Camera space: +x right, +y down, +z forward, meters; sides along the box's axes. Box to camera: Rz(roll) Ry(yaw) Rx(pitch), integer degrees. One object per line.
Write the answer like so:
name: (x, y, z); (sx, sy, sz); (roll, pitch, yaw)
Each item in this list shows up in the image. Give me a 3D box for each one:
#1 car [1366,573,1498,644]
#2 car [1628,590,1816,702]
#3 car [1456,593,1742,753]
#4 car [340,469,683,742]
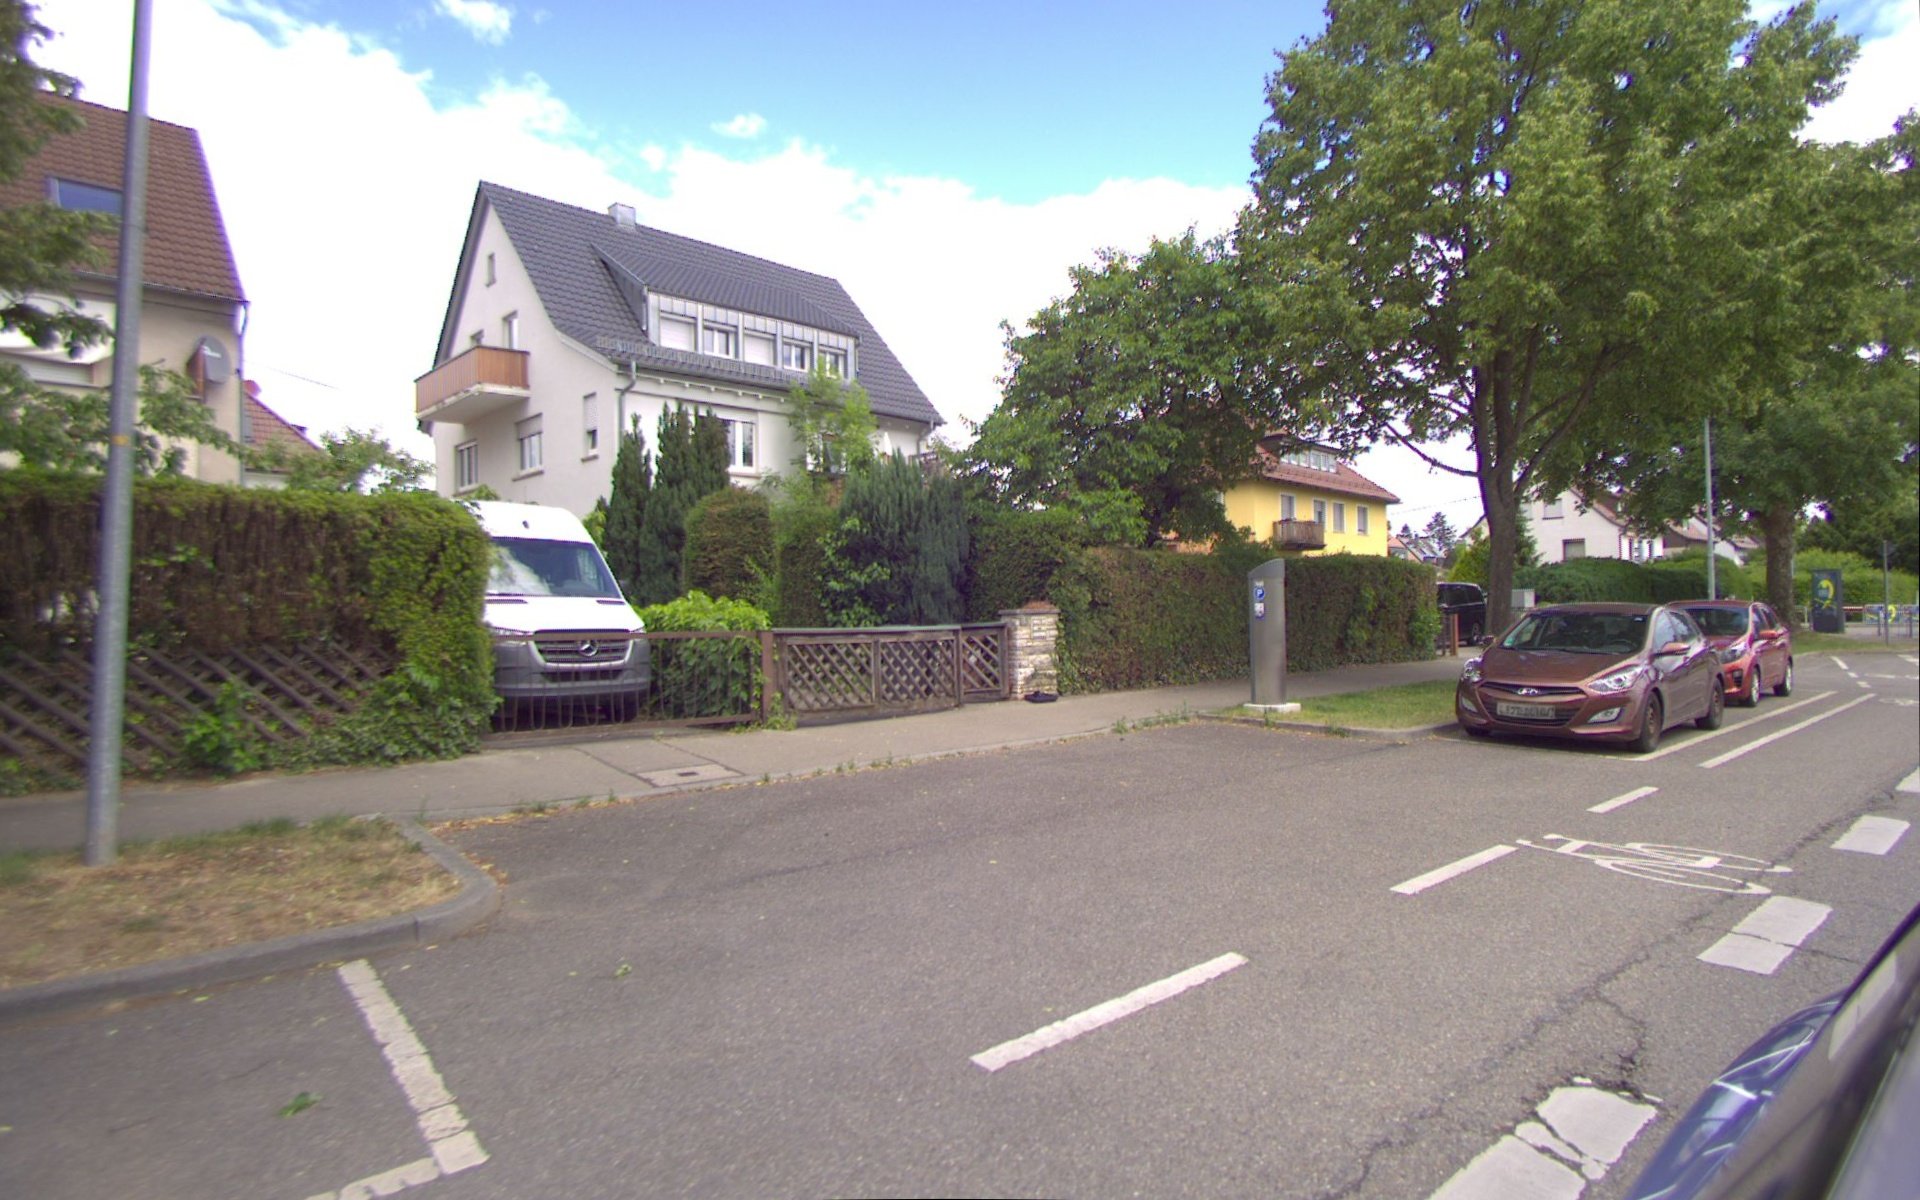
car: (13.715, 0.223, 29.310); (4.391, 1.905, 1.817); (-1, -2, -42)
car: (11.551, 0.605, 15.259); (3.605, 1.474, 1.567); (-1, 0, -42)
car: (7.214, 0.656, 11.258); (4.105, 1.434, 1.655); (0, 1, -42)
car: (-5.758, 0.075, 12.483); (1.965, 2.625, 5.715); (1, -1, -45)
